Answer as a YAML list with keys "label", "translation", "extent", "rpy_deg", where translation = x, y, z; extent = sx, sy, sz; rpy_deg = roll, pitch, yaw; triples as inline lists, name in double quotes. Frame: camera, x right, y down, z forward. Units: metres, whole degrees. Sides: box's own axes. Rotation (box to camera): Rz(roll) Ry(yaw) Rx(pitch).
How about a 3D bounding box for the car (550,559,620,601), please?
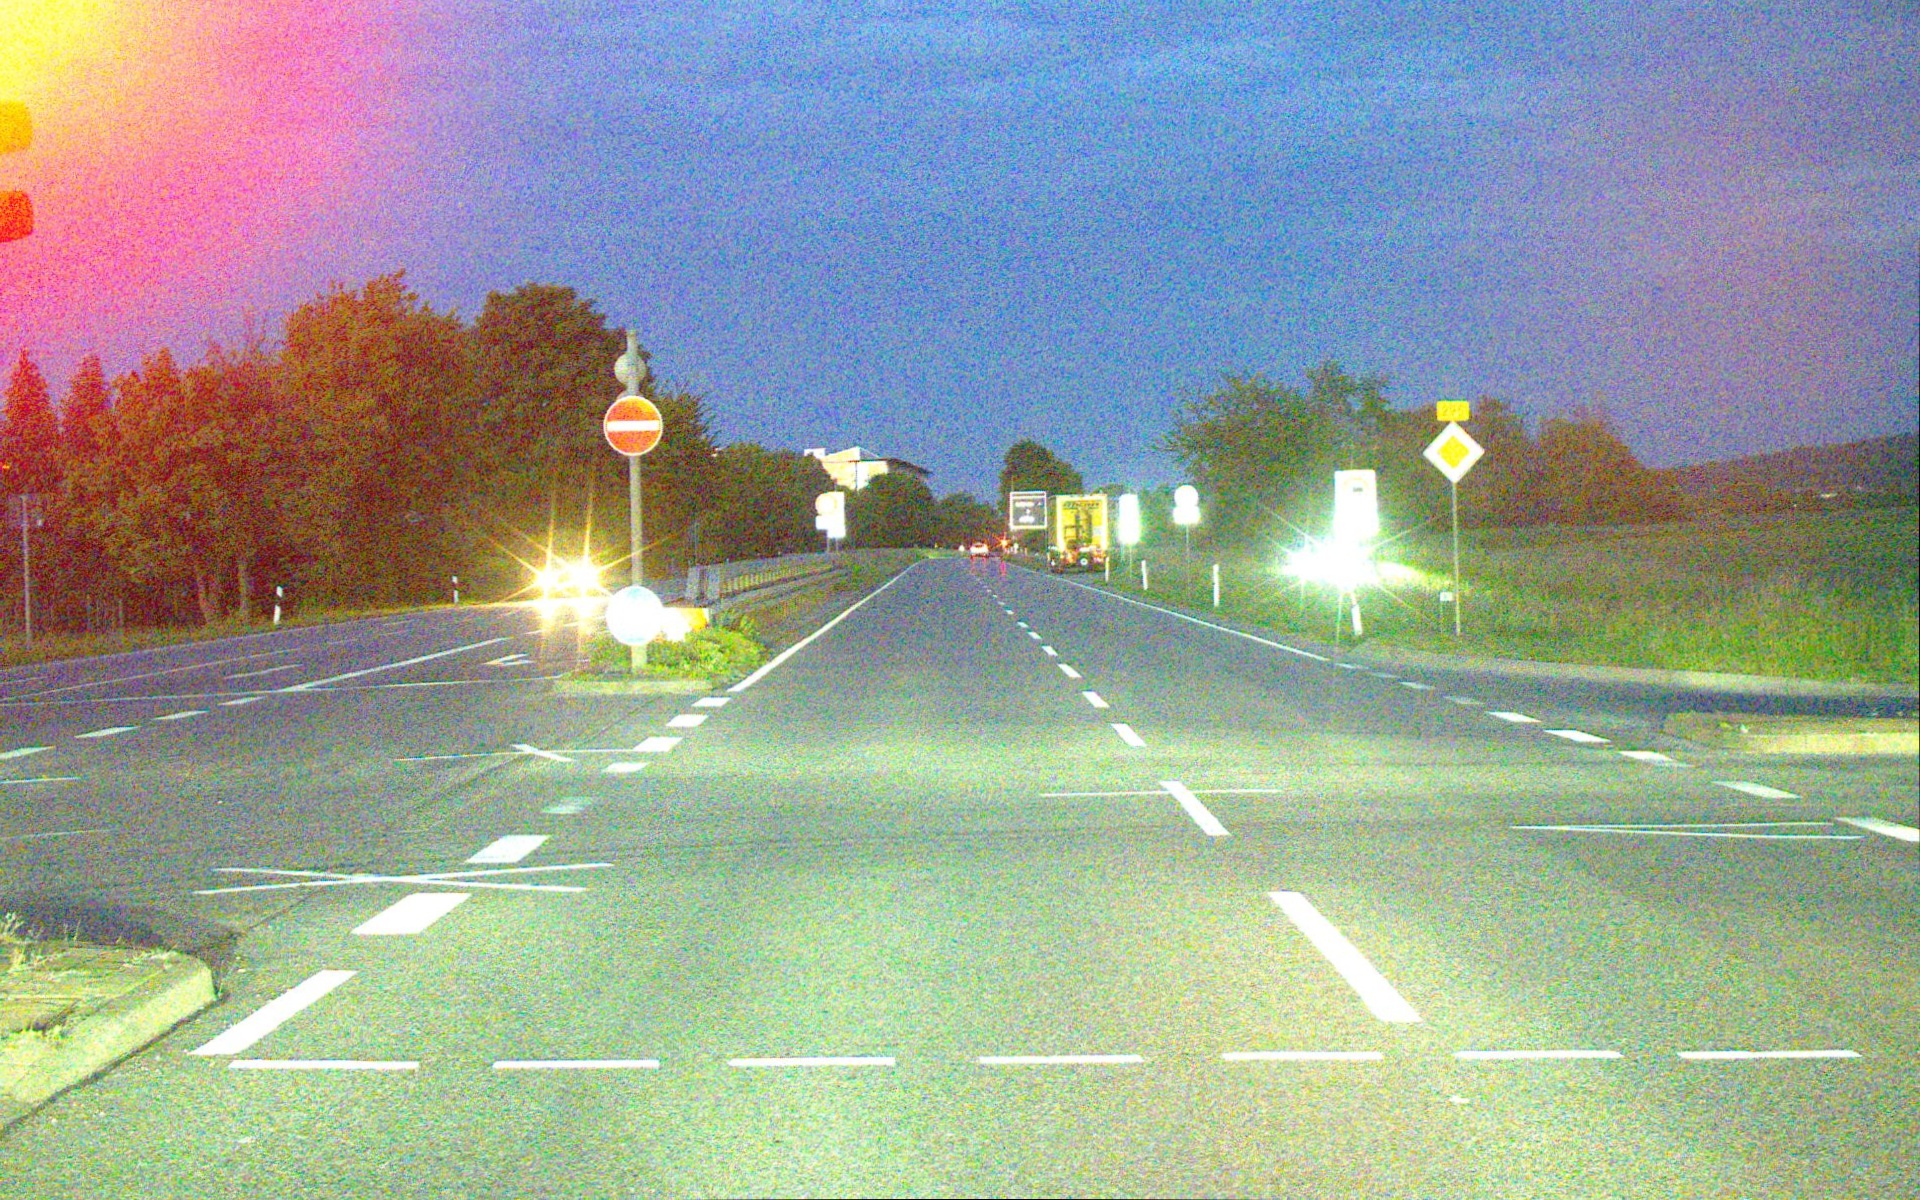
- label: "car"
  translation: [-12.985, -0.709, 119.162]
  extent: [1.993, 1.382, 4.000]
  rpy_deg: [-1, 1, -1]
